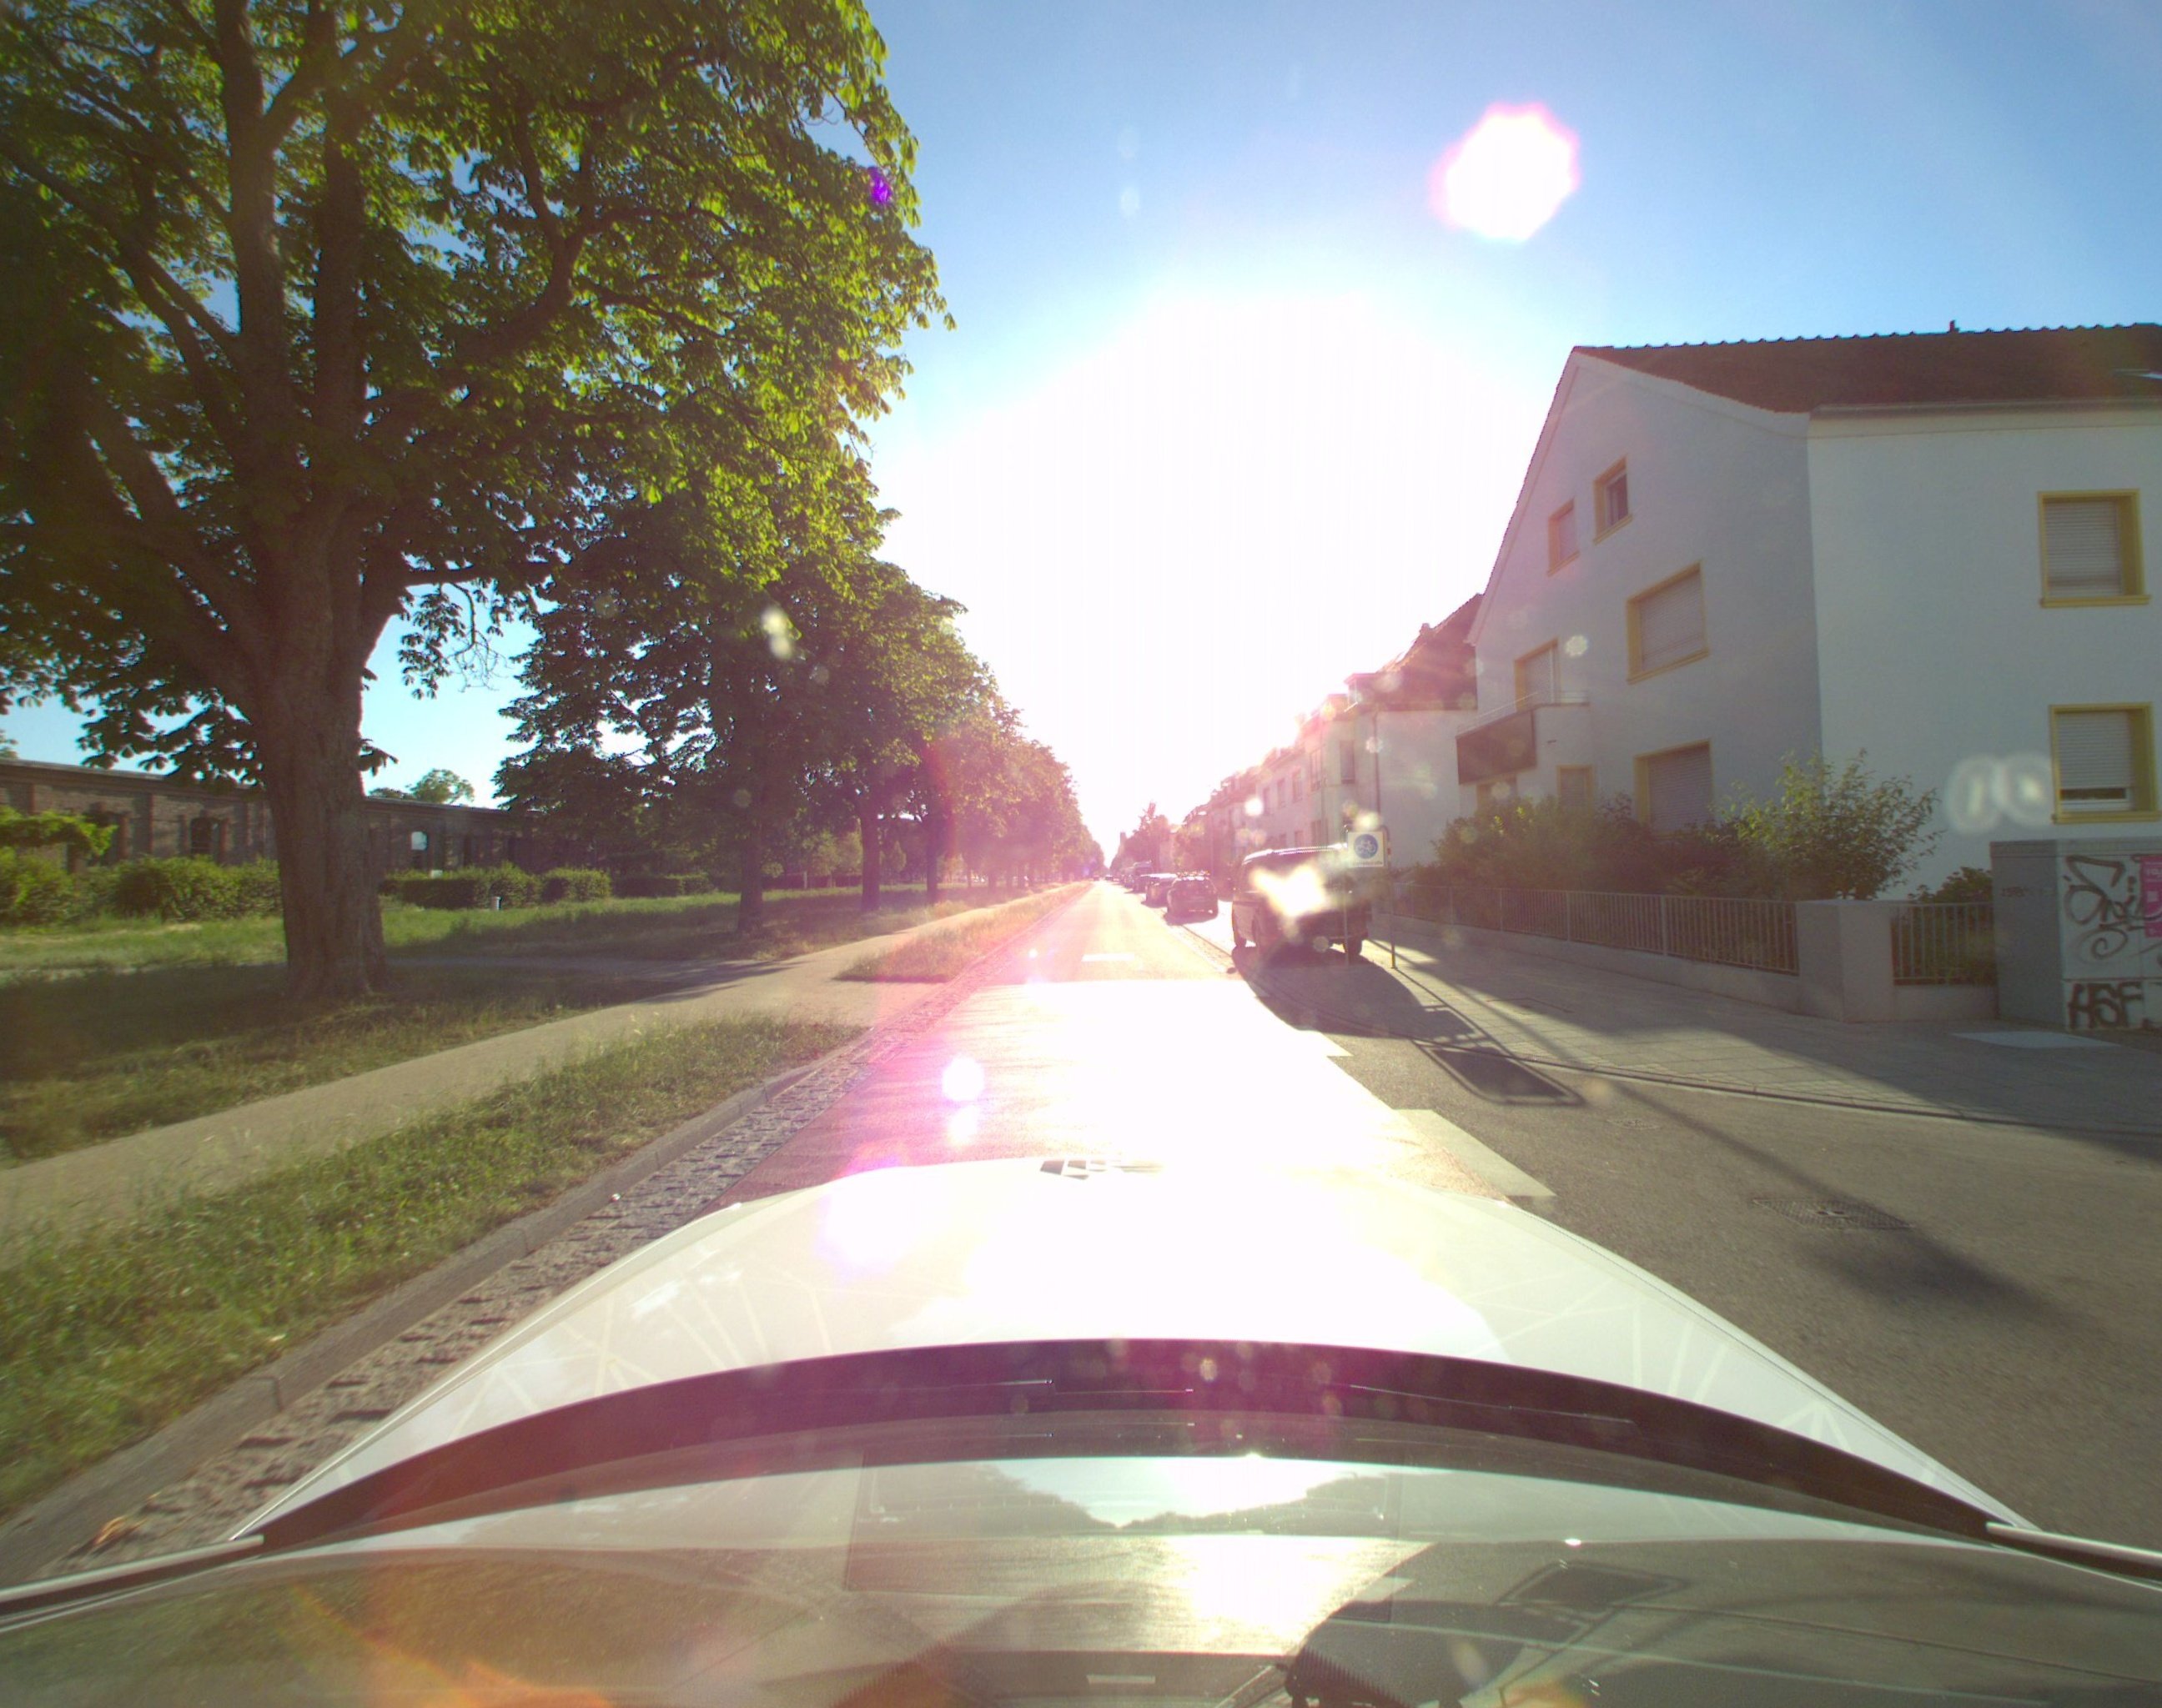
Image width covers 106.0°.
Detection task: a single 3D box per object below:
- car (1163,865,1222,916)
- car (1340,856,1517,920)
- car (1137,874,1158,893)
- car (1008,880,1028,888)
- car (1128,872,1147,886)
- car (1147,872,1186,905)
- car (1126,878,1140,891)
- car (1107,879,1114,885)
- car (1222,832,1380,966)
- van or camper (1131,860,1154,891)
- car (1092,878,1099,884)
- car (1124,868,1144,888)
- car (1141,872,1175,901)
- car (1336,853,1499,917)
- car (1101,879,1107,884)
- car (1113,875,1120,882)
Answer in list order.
[{"bbox_3d":[4.377,1.417,32.527,1.787,1.771,4.473,-3,-2,2],"label":"car"},{"bbox_3d":[9.733,0.945,23.042,4.206,1.726,1.851,0,-2,-2],"label":"car"},{"bbox_3d":[5.801,2.538,71.029,1.657,1.593,4.087,0,-2,2],"label":"car"},{"bbox_3d":[-13.962,6.623,181.064,4.341,1.765,1.995,0,-2,-7],"label":"car"},{"bbox_3d":[6.636,2.943,96.124,1.831,1.636,4.130,-2,-2,0],"label":"car"},{"bbox_3d":[4.584,1.846,44.245,1.712,1.574,4.211,-4,-2,1],"label":"car"},{"bbox_3d":[6.469,3.833,101.615,1.643,1.530,3.853,-3,-2,3],"label":"car"},{"bbox_3d":[7.714,7.358,213.737,1.856,1.597,3.894,-1,-1,1],"label":"car"},{"bbox_3d":[4.100,0.804,16.050,1.898,2.132,4.817,-4,-2,3],"label":"car"},{"bbox_3d":[5.844,2.104,77.417,1.936,2.778,5.941,0,-2,2],"label":"van or camper"},{"bbox_3d":[4.086,7.720,229.417,1.856,1.597,3.870,0,-2,1],"label":"car"},{"bbox_3d":[6.968,3.207,107.800,2.119,2.533,5.187,-2,-2,0],"label":"car"},{"bbox_3d":[4.701,1.968,50.274,1.825,1.685,4.417,0,-1,2],"label":"car"},{"bbox_3d":[10.280,0.952,25.098,4.206,1.726,1.851,-2,-2,-2],"label":"car"},{"bbox_3d":[6.928,8.266,244.136,1.856,1.597,3.870,0,-2,1],"label":"car"},{"bbox_3d":[8.572,5.849,195.356,1.643,1.530,3.853,-3,-2,3],"label":"car"}]
